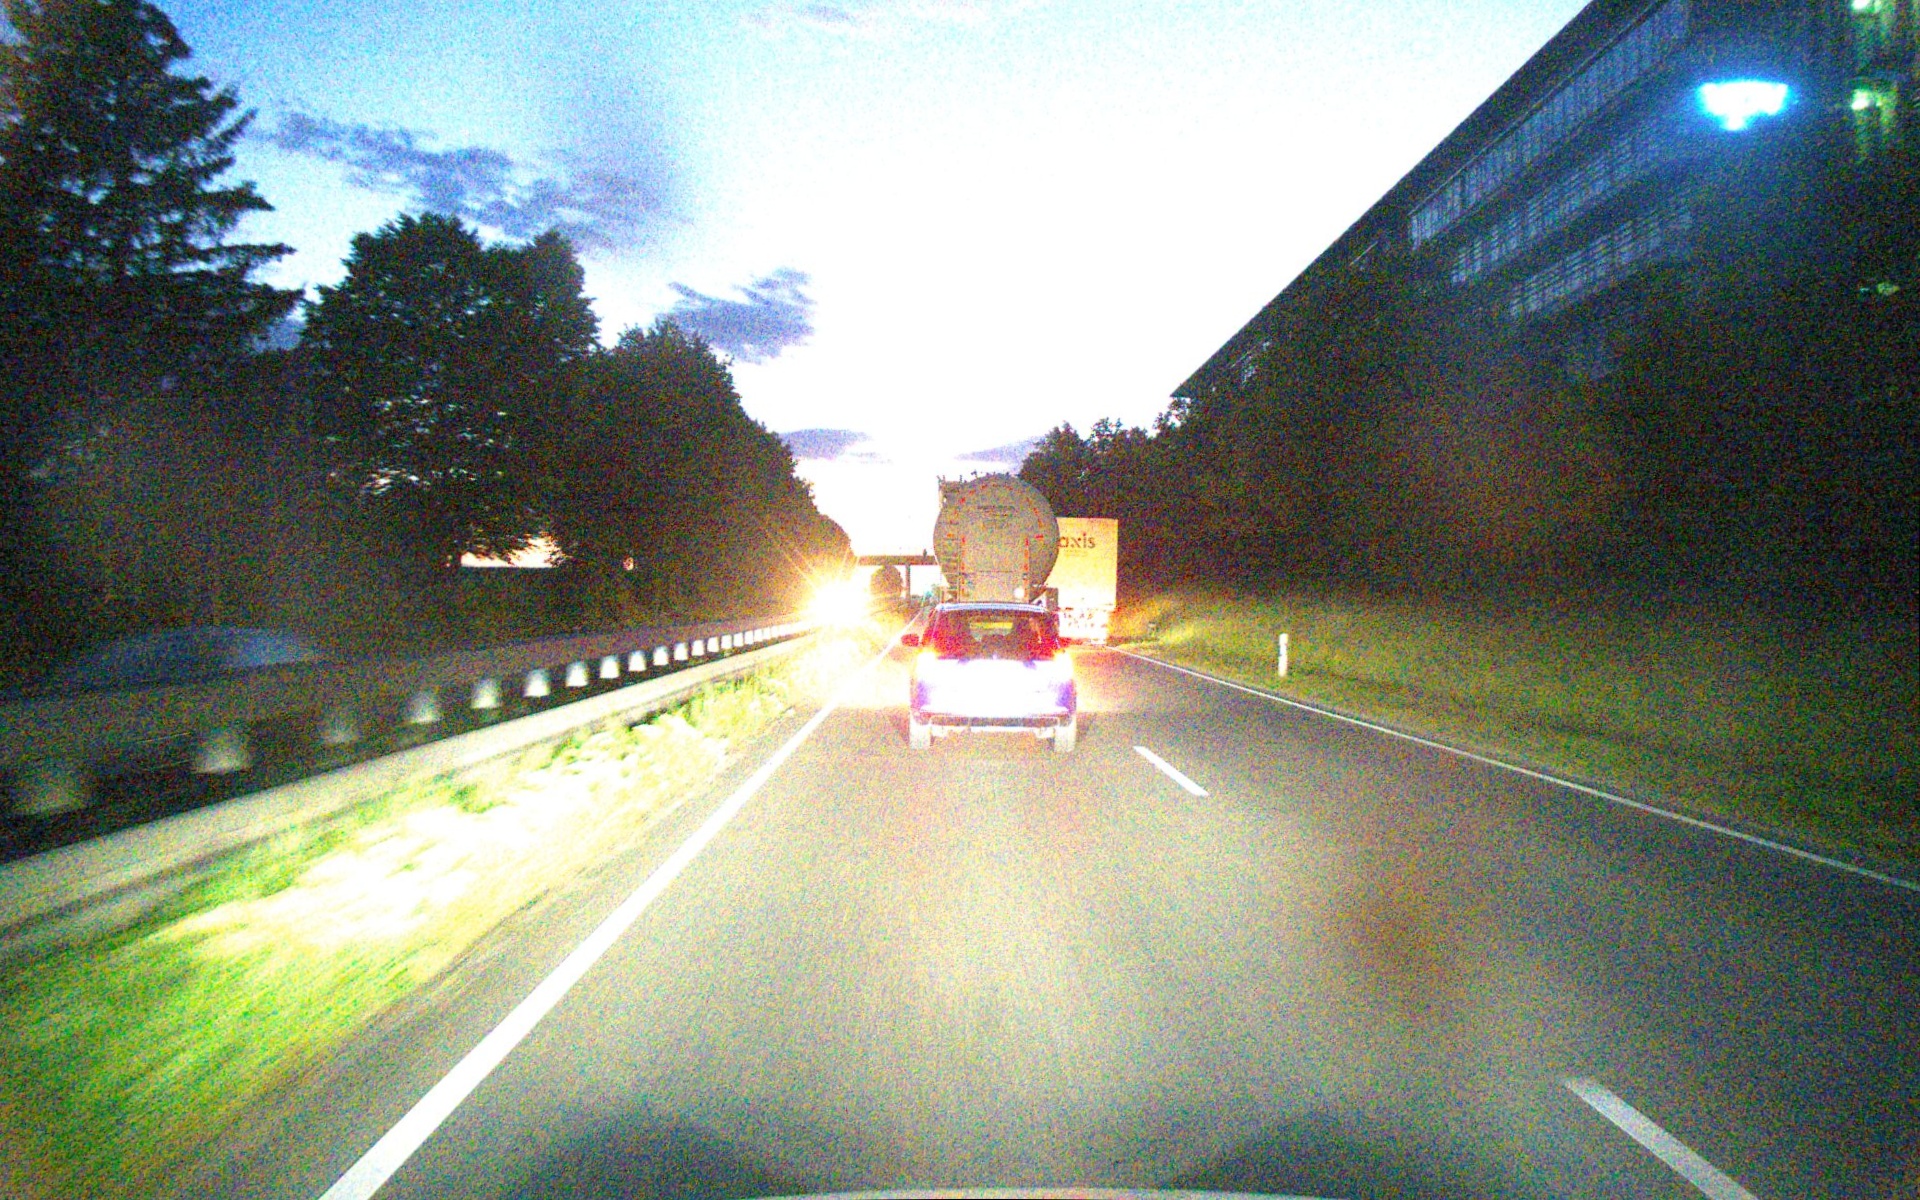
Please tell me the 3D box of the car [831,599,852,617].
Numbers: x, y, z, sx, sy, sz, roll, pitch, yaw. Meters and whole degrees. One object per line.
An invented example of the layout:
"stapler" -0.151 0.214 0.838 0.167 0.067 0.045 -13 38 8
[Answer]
"car" -10.941 0.764 153.002 1.648 1.615 4.166 1 0 -1

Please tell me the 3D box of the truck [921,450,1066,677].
"truck" 0.521 -0.654 37.255 2.633 4.178 13.138 1 0 -1

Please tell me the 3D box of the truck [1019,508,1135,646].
"truck" 3.789 -0.678 56.807 2.824 4.178 12.680 1 0 -1

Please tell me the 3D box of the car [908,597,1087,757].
"car" 0.324 0.734 17.521 1.661 1.478 3.913 1 0 -1

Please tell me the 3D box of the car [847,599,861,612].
"car" -13.586 0.695 212.283 1.584 1.533 3.868 1 0 -1

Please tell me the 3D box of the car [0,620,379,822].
"car" -6.736 0.925 14.531 1.685 1.432 4.573 1 0 -1
